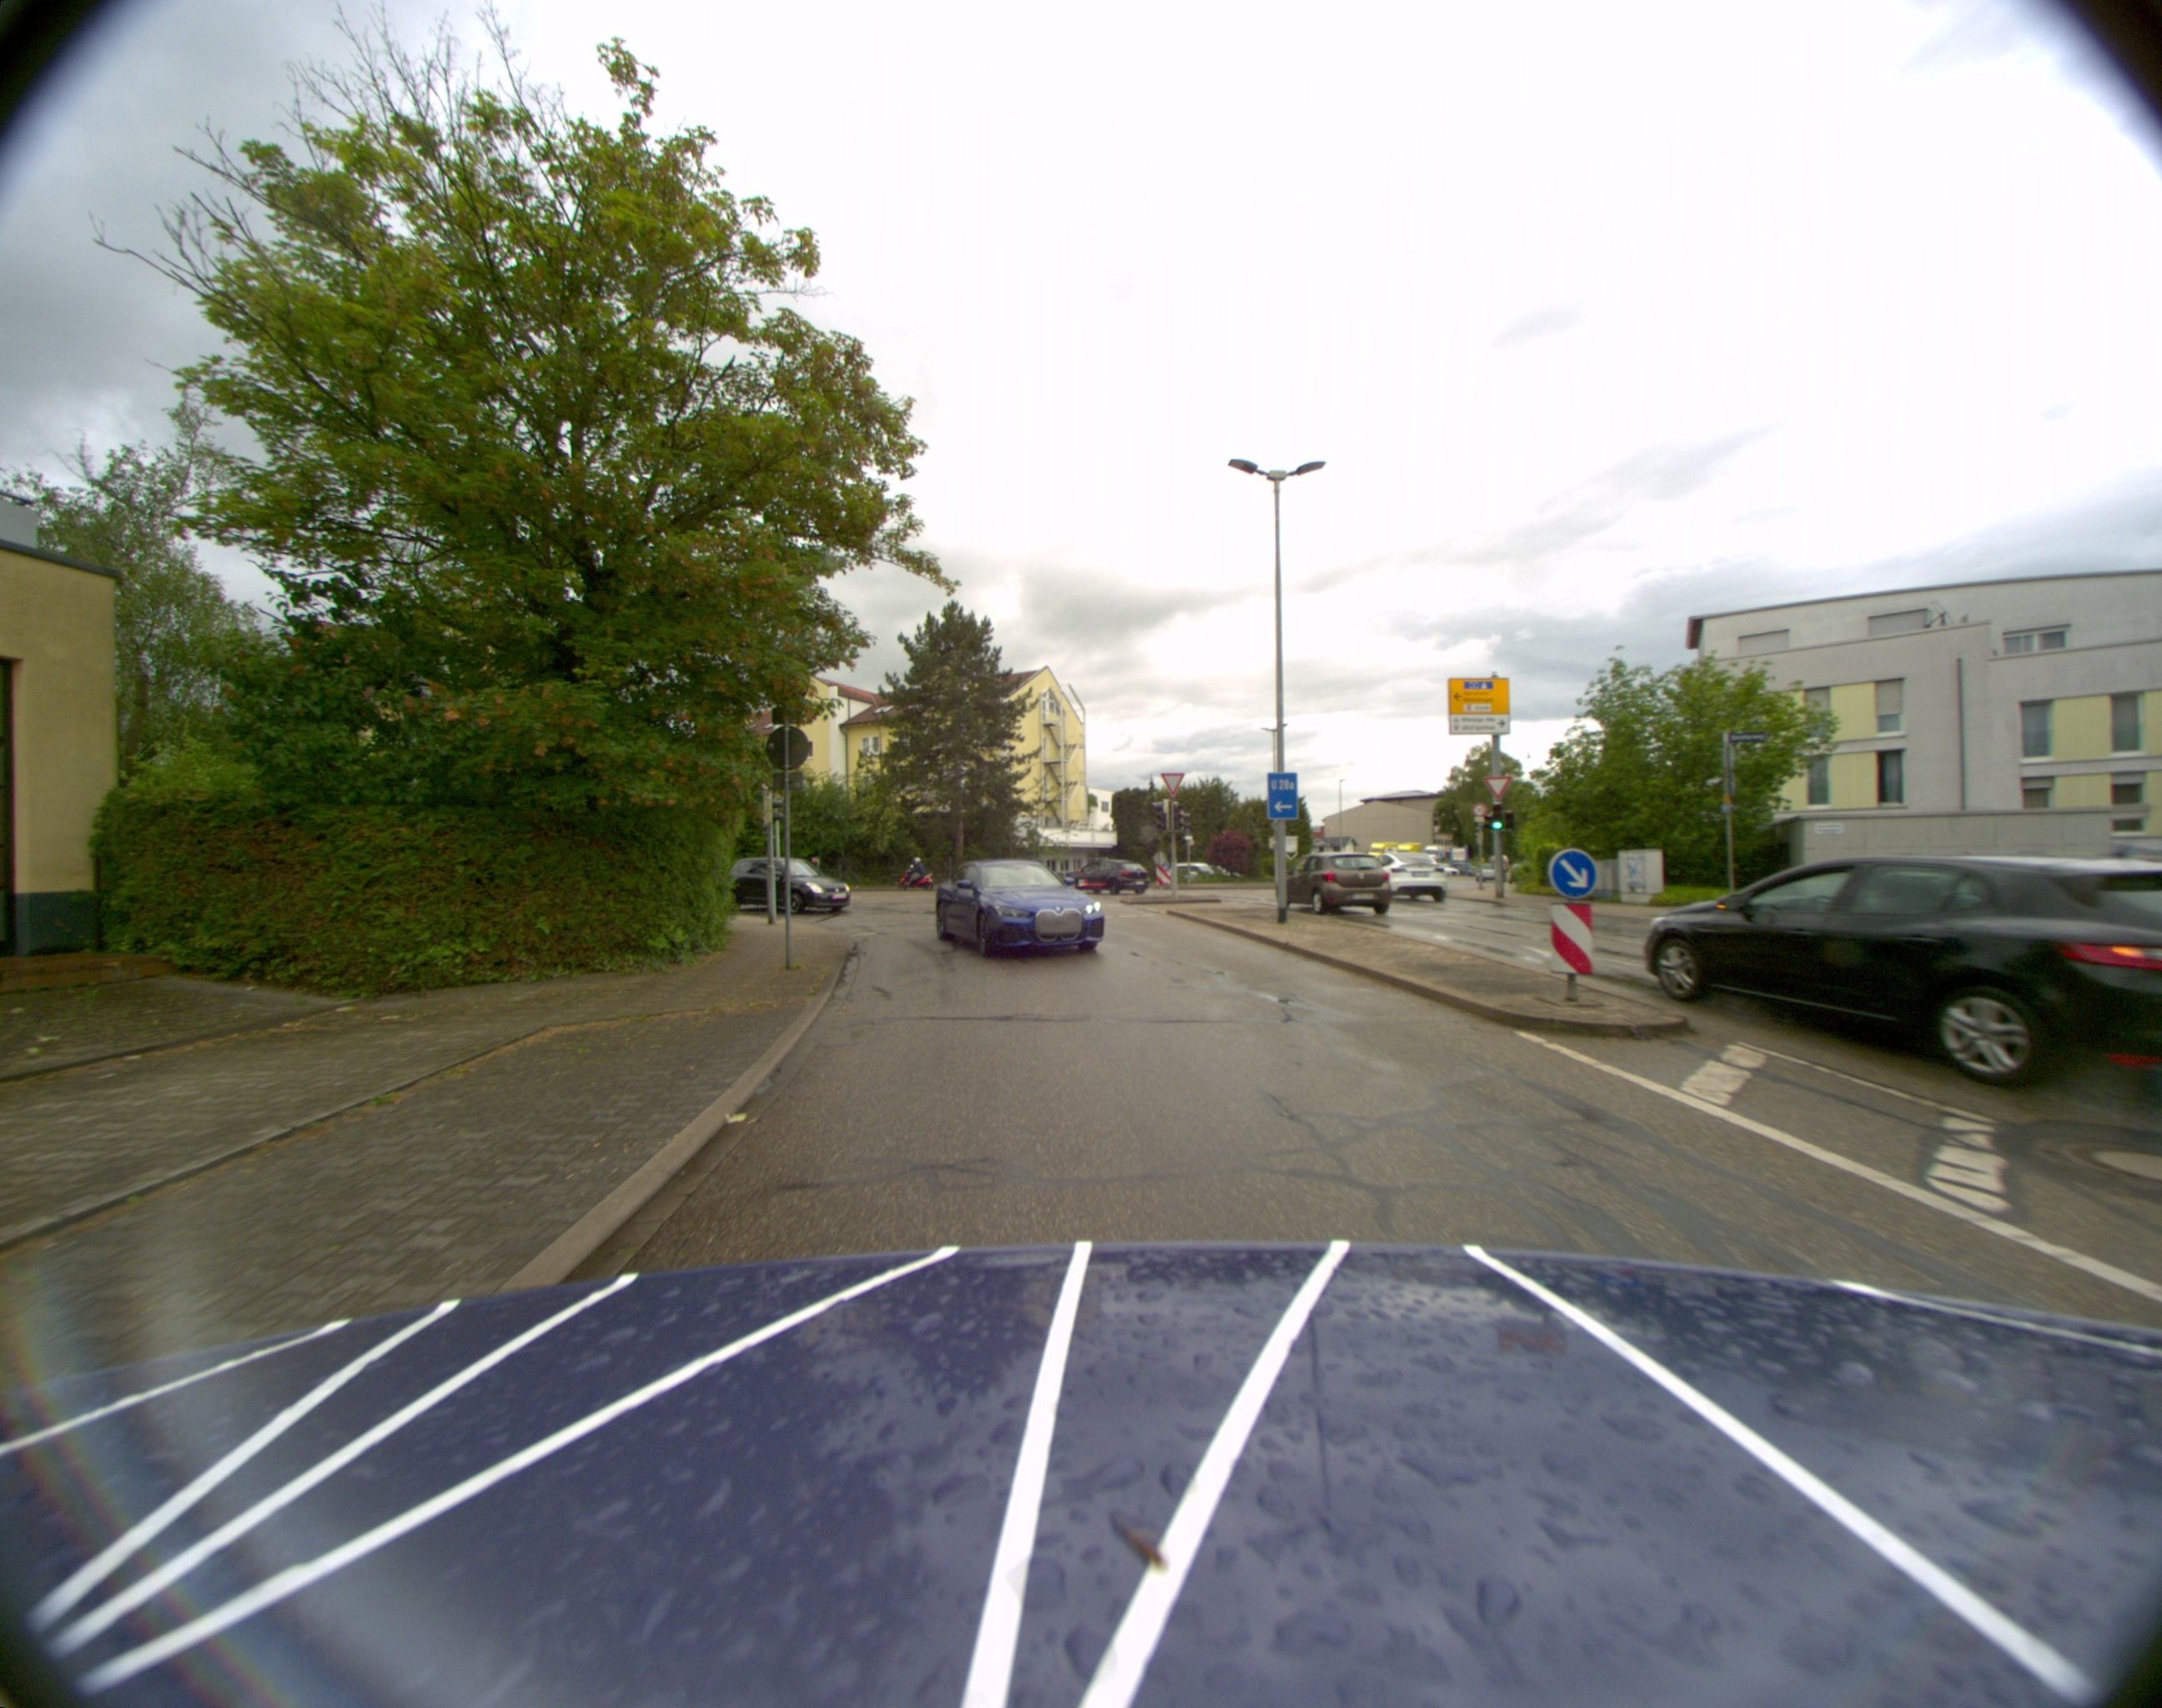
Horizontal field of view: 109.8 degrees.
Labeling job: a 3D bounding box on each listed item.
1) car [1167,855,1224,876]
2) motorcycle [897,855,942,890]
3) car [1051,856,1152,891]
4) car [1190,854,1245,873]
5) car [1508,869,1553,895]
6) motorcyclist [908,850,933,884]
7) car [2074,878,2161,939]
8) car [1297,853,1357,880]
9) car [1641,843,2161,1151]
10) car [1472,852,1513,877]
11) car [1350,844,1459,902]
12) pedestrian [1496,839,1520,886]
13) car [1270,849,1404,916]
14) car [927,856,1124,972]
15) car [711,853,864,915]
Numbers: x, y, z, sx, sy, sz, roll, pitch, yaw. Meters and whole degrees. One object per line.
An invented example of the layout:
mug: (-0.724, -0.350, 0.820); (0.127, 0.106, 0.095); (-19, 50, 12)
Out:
car: (8.783, 0.856, 58.465); (2.004, 1.455, 3.989); (-2, 1, -41)
motorcycle: (-7.764, 0.880, 36.549); (1.919, 1.615, 0.798); (-1, 1, 9)
car: (0.814, 0.799, 32.395); (1.826, 1.400, 4.191); (0, 0, -44)
car: (10.759, 0.749, 59.962); (1.735, 1.386, 3.989); (-5, 3, -43)
car: (29.331, 1.788, 49.505); (1.994, 1.546, 4.008); (-2, -1, 38)
motorcyclist: (-7.711, 0.639, 36.530); (0.938, 1.615, 0.773); (0, 1, 9)
car: (29.918, 1.479, 21.117); (1.855, 1.493, 3.843); (1, 1, 37)
car: (16.121, 0.788, 49.769); (4.008, 1.630, 1.994); (-2, 1, -43)
car: (6.484, 0.690, 5.537); (1.955, 1.510, 4.175); (-1, 1, 4)
car: (31.669, 0.800, 58.420); (1.994, 1.661, 4.007); (-1, 3, 40)
car: (10.890, 0.580, 25.963); (1.952, 1.715, 4.601); (-3, 0, 3)
pedestrian: (18.744, 0.374, 33.352); (0.847, 2.002, 0.803); (-1, 1, 32)
car: (6.337, 0.646, 19.288); (1.828, 1.478, 3.935); (-1, 1, -5)
car: (-1.149, 0.838, 12.898); (1.917, 1.487, 4.340); (-3, 1, -24)
car: (-8.234, 0.830, 21.253); (3.990, 1.511, 1.750); (-2, 3, 29)
